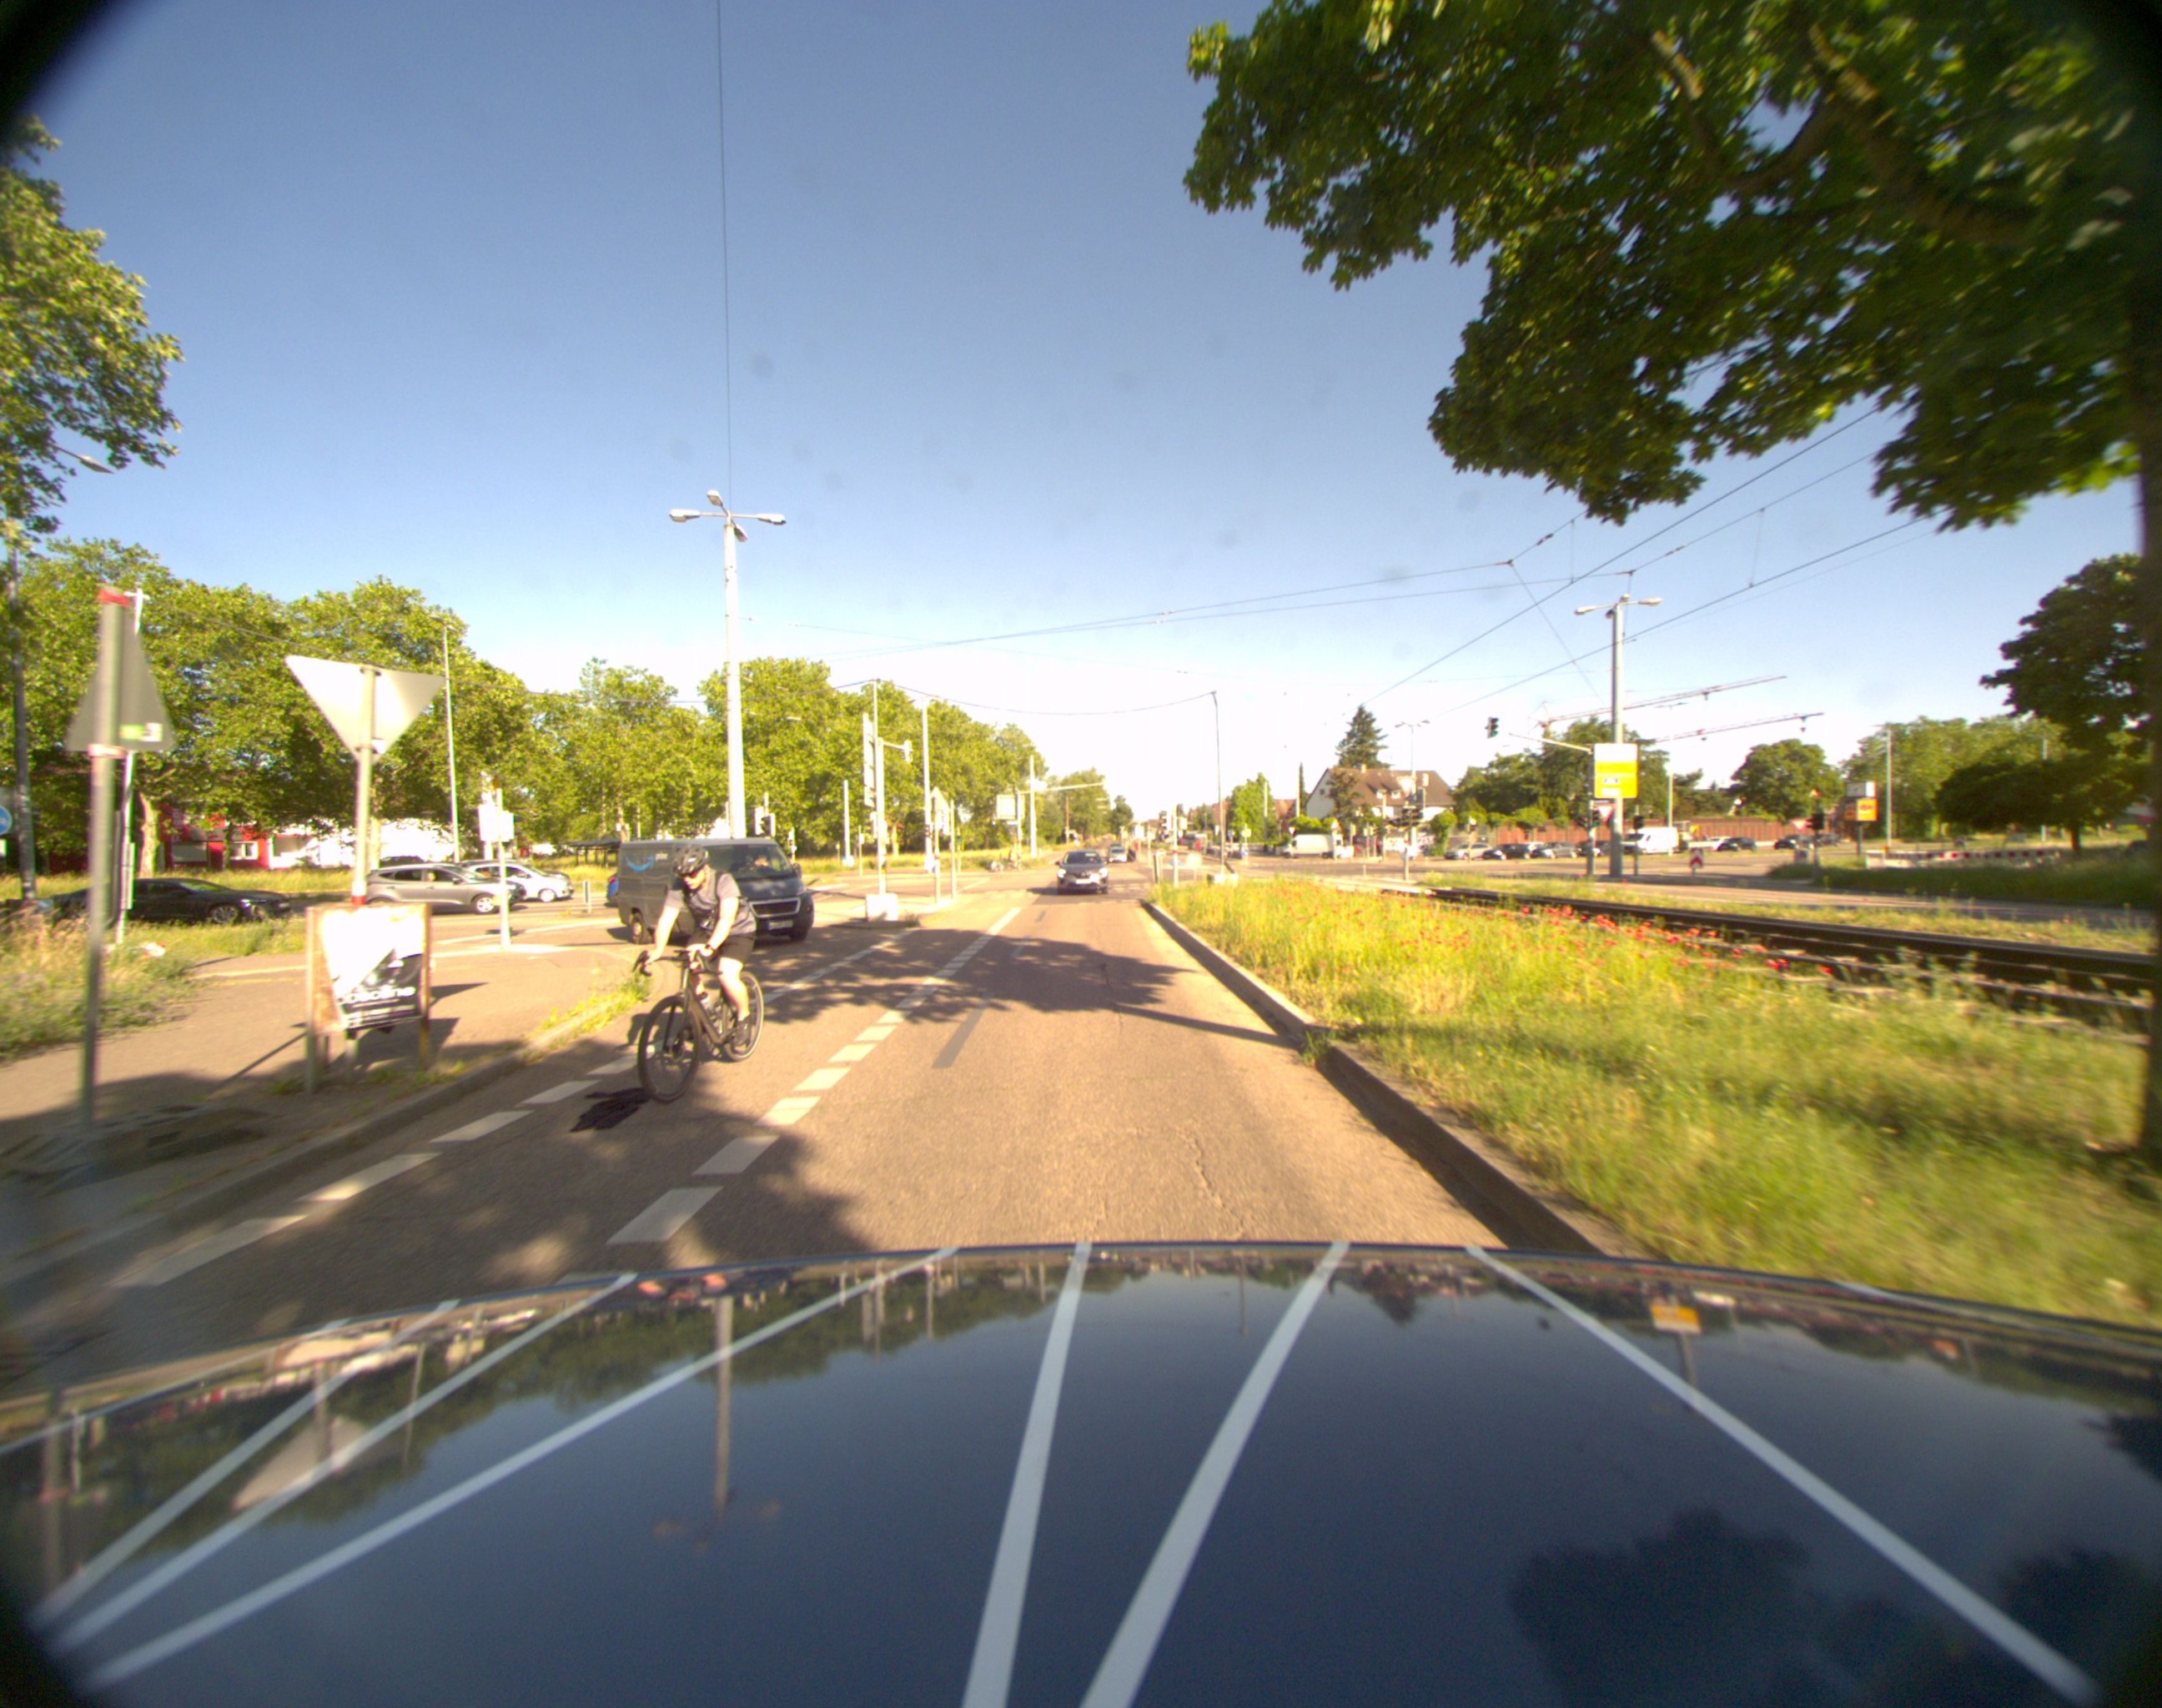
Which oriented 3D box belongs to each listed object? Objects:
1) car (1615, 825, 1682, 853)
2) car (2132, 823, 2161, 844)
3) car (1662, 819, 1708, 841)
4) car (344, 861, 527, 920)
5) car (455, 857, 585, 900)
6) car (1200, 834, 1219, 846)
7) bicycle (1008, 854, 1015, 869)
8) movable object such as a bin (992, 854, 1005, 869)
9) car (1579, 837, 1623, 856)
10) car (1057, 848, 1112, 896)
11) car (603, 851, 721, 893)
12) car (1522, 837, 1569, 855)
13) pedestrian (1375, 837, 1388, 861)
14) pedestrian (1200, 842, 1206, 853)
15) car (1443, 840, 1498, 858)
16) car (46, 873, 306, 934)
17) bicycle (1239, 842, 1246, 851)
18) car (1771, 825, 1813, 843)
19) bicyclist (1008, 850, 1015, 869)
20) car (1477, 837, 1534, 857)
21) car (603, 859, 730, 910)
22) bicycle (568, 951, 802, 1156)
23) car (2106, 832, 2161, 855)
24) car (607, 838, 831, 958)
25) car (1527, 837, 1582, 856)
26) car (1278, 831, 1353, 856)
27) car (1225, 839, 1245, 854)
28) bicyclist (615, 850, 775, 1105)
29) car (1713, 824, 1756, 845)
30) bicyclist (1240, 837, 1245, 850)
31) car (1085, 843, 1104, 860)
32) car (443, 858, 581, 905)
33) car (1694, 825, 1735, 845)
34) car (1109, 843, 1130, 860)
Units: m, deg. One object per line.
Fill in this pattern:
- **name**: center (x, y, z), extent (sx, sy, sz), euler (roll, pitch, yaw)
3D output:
- **car**: center (51.265, -1.389, 68.647), extent (5.928, 2.397, 2.176), euler (-1, 2, -23)
- **car**: center (90.083, -1.724, 63.379), extent (4.005, 1.752, 1.996), euler (-2, 2, -24)
- **car**: center (56.687, -2.240, 71.303), extent (4.005, 2.002, 1.804), euler (-1, 2, -26)
- **car**: center (-20.982, 1.131, 24.944), extent (4.180, 1.669, 1.930), euler (-1, 1, -26)
- **car**: center (-23.195, 0.968, 31.622), extent (4.005, 1.608, 1.996), euler (-1, 1, -25)
- **car**: center (18.321, -2.001, 108.430), extent (1.818, 1.587, 4.690), euler (-1, 1, -2)
- **bicycle**: center (-5.193, 0.555, 56.643), extent (0.468, 1.112, 1.819), euler (-1, 1, -5)
- **movable object such as a bin**: center (-6.017, 0.549, 55.150), extent (0.911, 1.062, 1.315), euler (-1, 2, -7)
- **car**: center (45.074, -0.693, 65.902), extent (3.531, 1.559, 1.494), euler (-1, 1, -23)
- **car**: center (0.190, 0.603, 27.890), extent (1.838, 1.542, 3.815), euler (-1, 2, 3)
- **car**: center (-18.760, 0.764, 34.246), extent (4.500, 1.702, 1.916), euler (-1, 2, -25)
- **car**: center (41.910, -0.744, 68.572), extent (4.005, 1.469, 1.669), euler (-1, 2, -25)
- **pedestrian**: center (24.462, -0.397, 61.942), extent (0.612, 1.937, 0.774), euler (-2, 2, -41)
- **pedestrian**: center (15.799, -0.870, 98.215), extent (0.623, 1.406, 0.711), euler (-1, 1, 1)
- **car**: center (33.229, -0.445, 64.759), extent (4.642, 1.469, 1.669), euler (-1, 2, -25)
- **car**: center (-26.928, 1.415, 22.879), extent (4.576, 1.400, 1.929), euler (-1, 5, -26)
- **bicycle**: center (20.992, -0.984, 98.913), extent (0.508, 1.036, 1.948), euler (-1, 1, 2)
- **car**: center (72.497, -2.024, 77.493), extent (4.005, 1.732, 1.804), euler (-1, 1, -26)
- **bicyclist**: center (-5.148, 0.405, 56.145), extent (0.511, 1.333, 0.565), euler (-1, 2, -5)
- **car**: center (34.623, -0.576, 61.989), extent (4.254, 1.458, 1.934), euler (-2, 2, -25)
- **car**: center (-14.983, 1.053, 27.663), extent (3.865, 1.591, 1.709), euler (-2, 2, -27)
- **bicycle**: center (-2.767, 1.336, 5.617), extent (0.525, 0.918, 2.089), euler (-1, 2, 3)
- **car**: center (85.613, -0.867, 61.693), extent (4.005, 1.752, 1.996), euler (-1, 1, -24)
- **car**: center (-7.589, 0.756, 15.693), extent (5.104, 2.058, 2.135), euler (0, 2, 39)
- **car**: center (39.844, -0.656, 63.976), extent (4.264, 1.458, 1.934), euler (-2, 1, -25)
- **car**: center (23.611, -1.089, 76.732), extent (6.850, 2.444, 2.353), euler (0, 2, 39)
- **car**: center (18.209, -0.899, 89.779), extent (1.795, 1.678, 4.001), euler (-1, 1, 4)
- **bicyclist**: center (-2.733, 0.819, 5.481), extent (0.616, 1.670, 0.933), euler (-1, 2, 2)
- **car**: center (64.275, -1.898, 74.723), extent (4.005, 2.002, 1.804), euler (-1, 2, -26)
- **bicyclist**: center (20.979, -1.364, 98.783), extent (0.490, 1.599, 0.648), euler (-1, 2, 2)
- **car**: center (1.303, -0.247, 72.900), extent (1.839, 1.542, 3.815), euler (-1, 2, 1)
- **car**: center (-21.589, 1.009, 29.017), extent (3.864, 1.591, 1.710), euler (-1, 1, -22)
- **car**: center (65.645, -1.970, 78.702), extent (4.005, 2.002, 1.804), euler (-1, 2, -26)
- **car**: center (3.685, -0.298, 73.505), extent (1.881, 1.519, 4.420), euler (-1, 1, 1)
